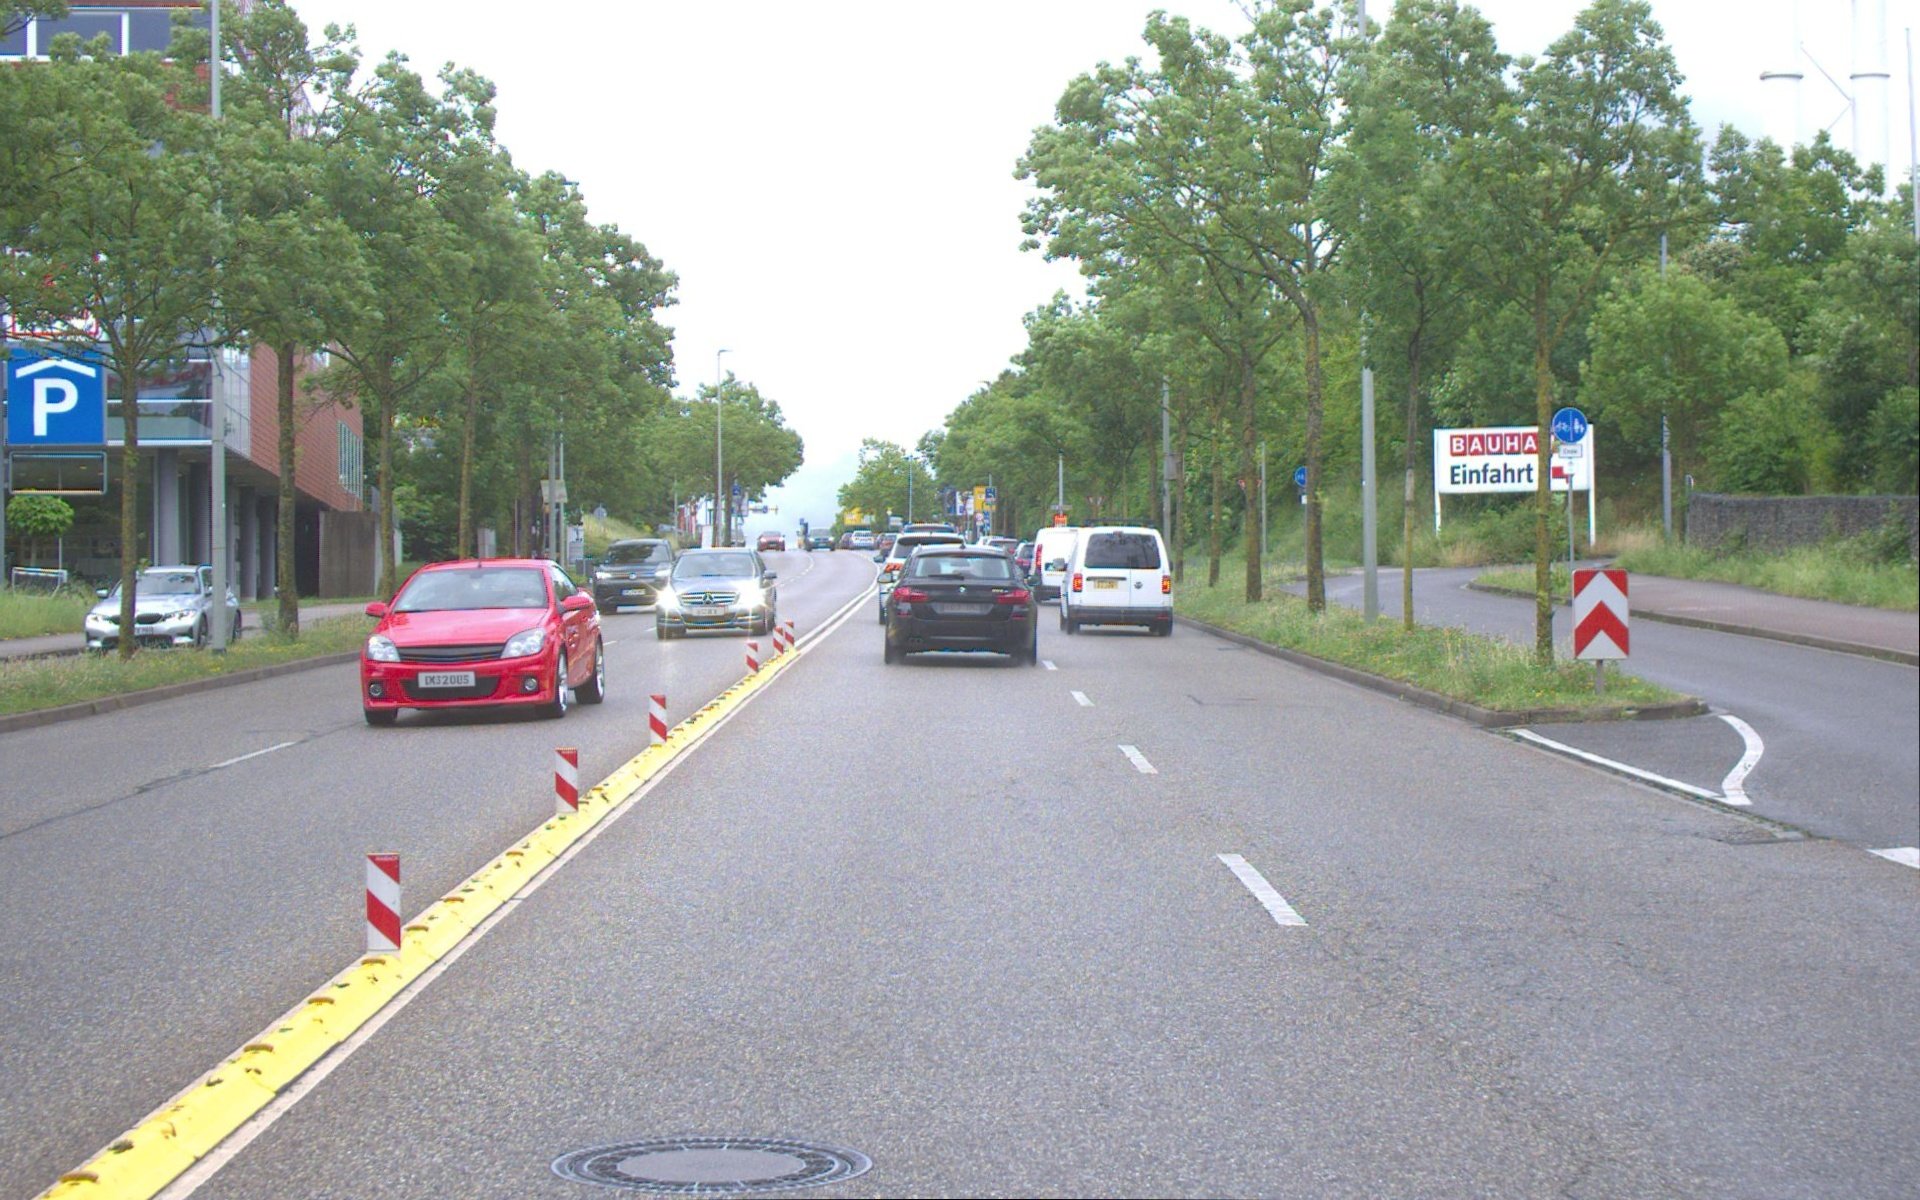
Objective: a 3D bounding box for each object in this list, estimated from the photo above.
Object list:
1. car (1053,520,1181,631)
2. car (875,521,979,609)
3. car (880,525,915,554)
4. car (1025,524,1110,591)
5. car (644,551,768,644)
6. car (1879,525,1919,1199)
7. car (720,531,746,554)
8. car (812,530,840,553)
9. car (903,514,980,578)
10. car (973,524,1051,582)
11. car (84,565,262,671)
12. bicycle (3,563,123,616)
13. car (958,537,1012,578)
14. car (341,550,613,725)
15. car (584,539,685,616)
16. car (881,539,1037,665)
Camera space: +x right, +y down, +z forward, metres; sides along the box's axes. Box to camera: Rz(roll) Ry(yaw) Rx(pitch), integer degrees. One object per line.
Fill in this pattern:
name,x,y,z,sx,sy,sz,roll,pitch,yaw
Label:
car,2.597,-0.435,57.785,1.827,1.753,4.000,2,1,-1
car,-0.607,-0.623,62.602,1.794,1.505,4.000,2,0,-1
car,-3.388,-3.266,185.953,1.794,1.505,4.000,2,0,-2
car,2.522,-0.998,81.396,1.794,1.505,4.000,2,0,-1
car,-4.130,-0.064,56.458,1.667,1.405,4.378,-2,1,0
car,2.974,0.673,5.662,1.685,1.575,4.219,1,1,-1
car,-15.937,-4.021,241.691,1.794,1.505,4.001,2,0,-4
car,-9.387,-4.111,240.551,1.794,1.505,4.001,2,0,-4
car,-0.479,-1.328,85.715,1.794,1.505,4.000,2,0,-2
car,1.425,-1.289,95.258,1.794,1.505,4.001,2,0,-4
car,-12.727,0.257,55.860,1.867,1.547,4.576,-2,1,-1
bicycle,-18.358,-0.216,70.372,2.077,0.932,1.093,4,0,3
car,0.949,-1.640,134.065,1.794,1.505,4.001,2,0,-4
car,-4.268,0.286,30.943,1.762,1.420,4.180,-1,1,1
car,-7.291,-0.512,77.291,1.787,1.608,4.436,-2,1,0
car,-0.014,-0.013,42.554,1.827,1.463,4.000,-1,1,0
